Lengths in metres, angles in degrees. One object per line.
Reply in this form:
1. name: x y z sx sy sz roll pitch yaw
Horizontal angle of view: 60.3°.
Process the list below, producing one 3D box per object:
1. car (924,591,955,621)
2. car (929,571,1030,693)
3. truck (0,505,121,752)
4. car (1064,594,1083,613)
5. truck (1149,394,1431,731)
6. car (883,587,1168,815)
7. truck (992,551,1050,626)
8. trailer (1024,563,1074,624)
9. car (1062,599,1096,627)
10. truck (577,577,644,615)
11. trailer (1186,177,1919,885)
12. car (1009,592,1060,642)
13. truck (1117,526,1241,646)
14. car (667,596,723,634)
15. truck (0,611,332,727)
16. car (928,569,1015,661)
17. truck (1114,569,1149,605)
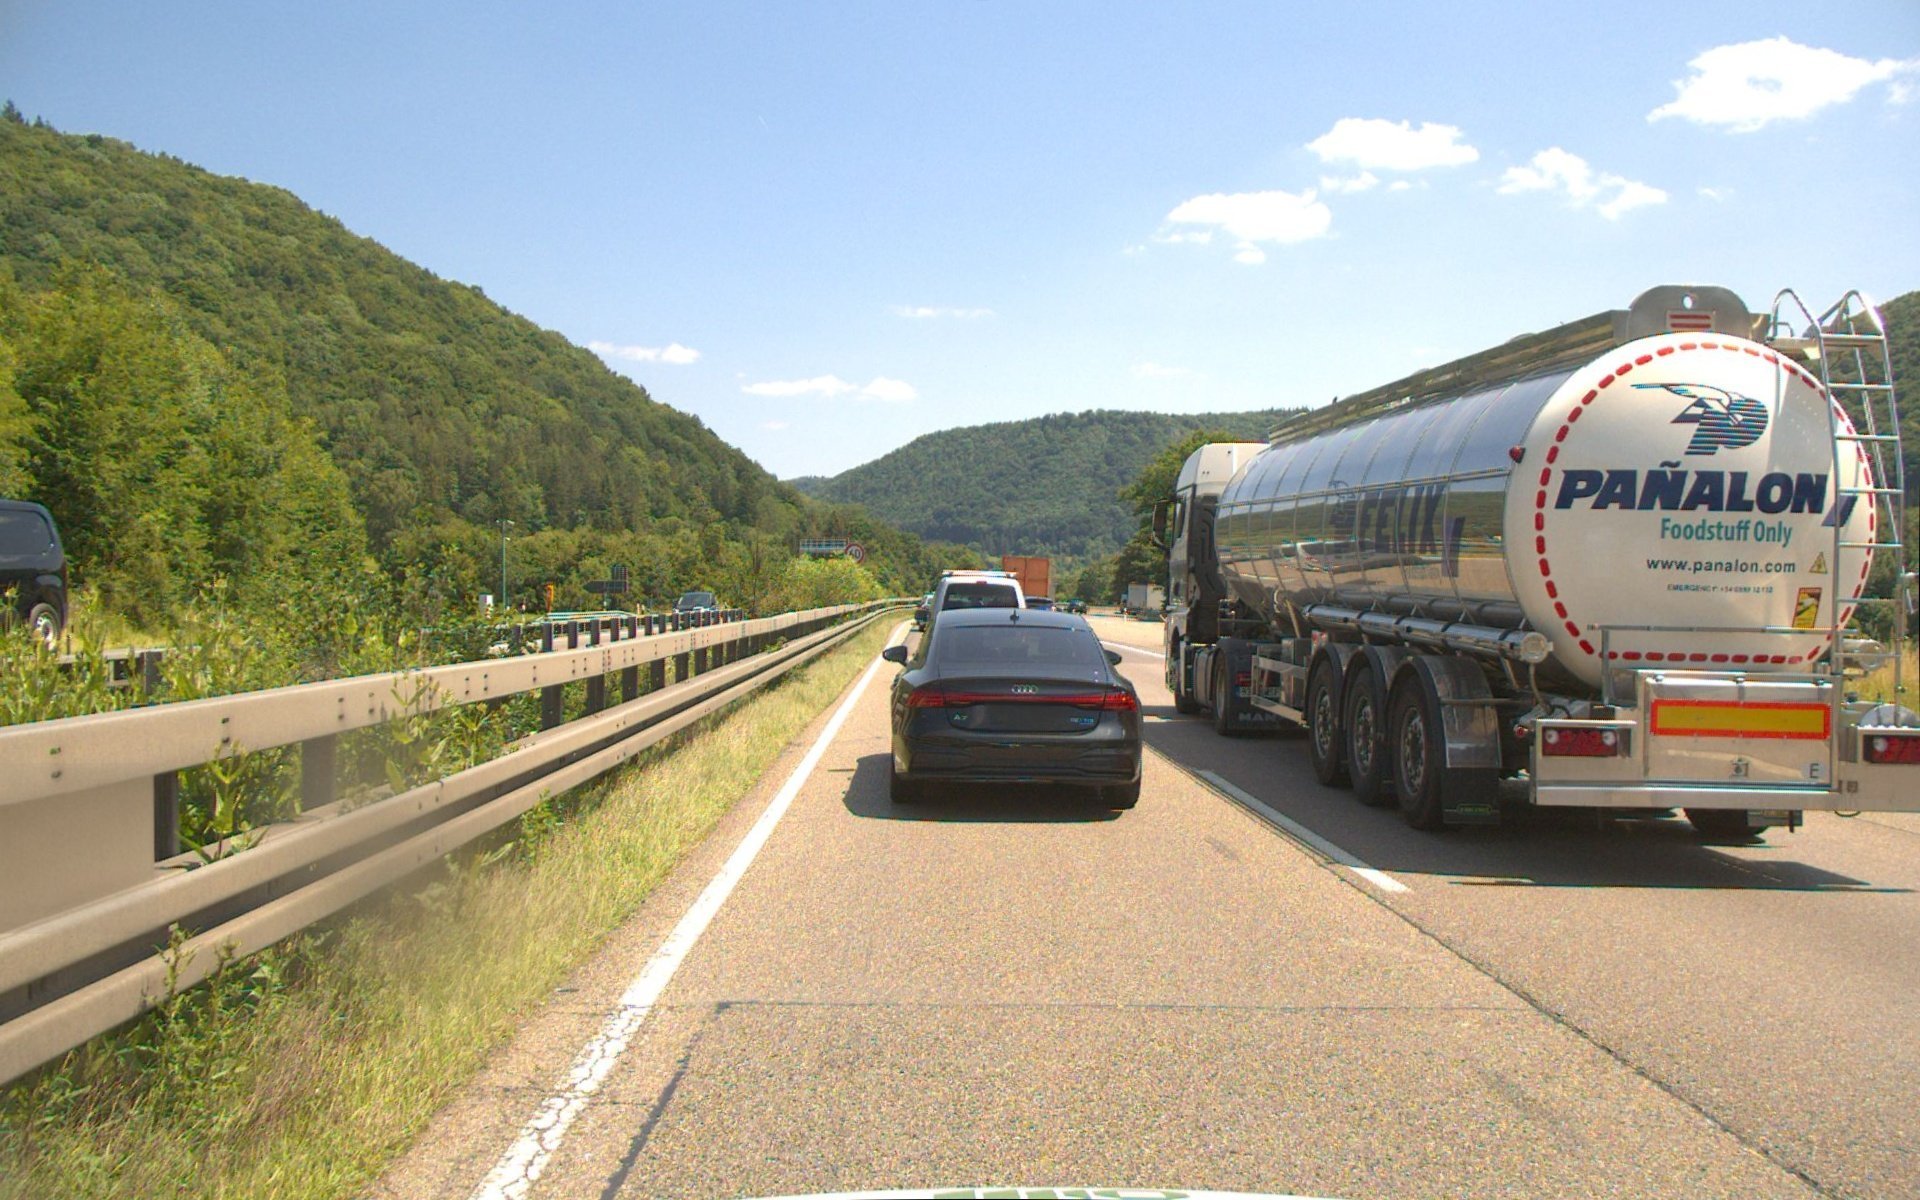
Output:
1. car: -1.112 0.332 93.116 1.677 1.646 4.000 0 0 0
2. car: 0.270 0.486 27.496 1.544 1.865 3.999 1 0 -1
3. truck: -11.300 0.296 16.115 2.249 2.633 7.966 1 0 -1
4. car: 13.059 0.395 189.759 1.951 2.049 4.003 0 0 6
5. truck: 4.084 -0.440 21.555 2.461 3.824 5.244 1 0 -2
6. car: 0.352 0.674 13.149 1.813 1.514 4.079 1 0 -4
7. truck: 3.484 -0.655 97.649 2.760 4.073 14.954 1 0 0
8. trailer: 6.774 -0.501 127.590 2.954 4.459 10.982 1 0 -1
9. car: 6.757 0.739 94.373 1.711 1.557 4.000 0 0 1
10. truck: -26.003 -0.307 123.389 3.509 2.742 8.444 0 0 -2
11. trailer: 4.258 -0.390 14.892 2.487 3.801 11.888 1 0 -2
12. car: 3.064 0.669 68.963 1.953 2.038 4.000 0 0 0
13. truck: 8.245 -0.511 64.246 2.760 4.073 14.954 1 0 0
14. car: -12.090 0.663 75.596 1.883 1.649 4.560 0 0 -1
15. truck: -11.346 0.858 23.658 2.164 1.357 7.008 0 0 -1
16. car: 0.225 0.340 39.308 1.953 2.049 3.999 1 0 -1
17. truck: 22.352 -1.636 214.831 3.712 4.491 14.967 1 0 9
